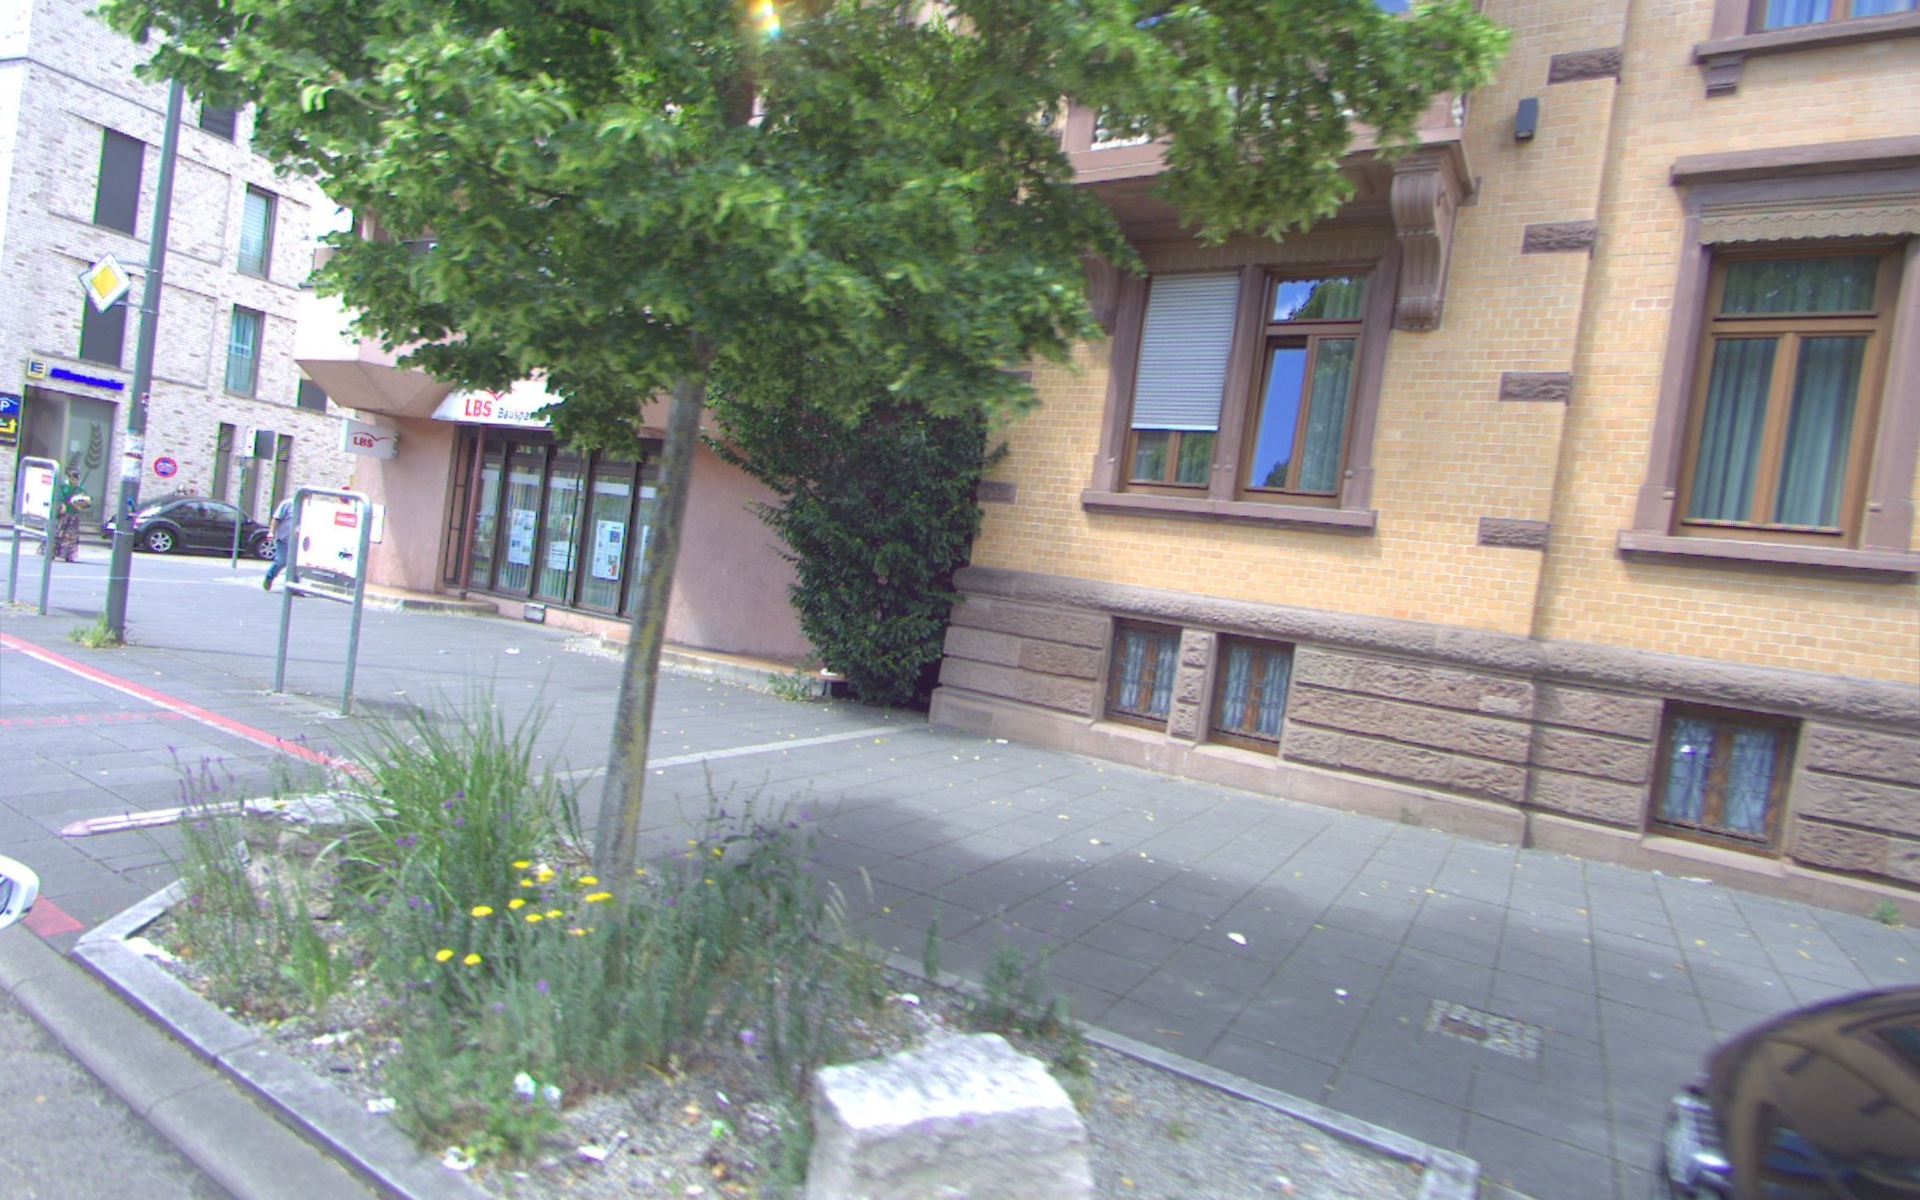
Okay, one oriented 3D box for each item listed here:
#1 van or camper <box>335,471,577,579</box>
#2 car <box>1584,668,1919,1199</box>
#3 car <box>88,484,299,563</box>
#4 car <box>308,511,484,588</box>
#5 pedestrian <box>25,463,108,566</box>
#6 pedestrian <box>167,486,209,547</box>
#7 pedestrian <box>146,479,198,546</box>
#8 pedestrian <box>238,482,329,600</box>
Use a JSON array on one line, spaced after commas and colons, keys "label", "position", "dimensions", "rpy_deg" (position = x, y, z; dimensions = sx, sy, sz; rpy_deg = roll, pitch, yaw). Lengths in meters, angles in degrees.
[{"label": "van or camper", "position": [-16.134, -2.303, 32.784], "dimensions": [2.238, 2.772, 6.861], "rpy_deg": [6, 2, 29]}, {"label": "car", "position": [3.253, 1.086, 0.695], "dimensions": [4.658, 1.432, 1.995], "rpy_deg": [7, 1, 32]}, {"label": "car", "position": [-19.652, -1.921, 25.973], "dimensions": [1.751, 1.496, 3.901], "rpy_deg": [8, 2, 25]}, {"label": "car", "position": [-14.096, -1.240, 25.308], "dimensions": [1.689, 1.496, 3.384], "rpy_deg": [8, 2, 30]}, {"label": "pedestrian", "position": [-15.534, -1.484, 17.518], "dimensions": [0.736, 1.661, 0.921], "rpy_deg": [5, 3, -23]}, {"label": "pedestrian", "position": [-21.663, -2.346, 28.238], "dimensions": [0.592, 1.592, 0.522], "rpy_deg": [7, 0, -2]}, {"label": "pedestrian", "position": [-21.626, -2.382, 27.601], "dimensions": [0.801, 1.691, 0.555], "rpy_deg": [7, 0, -2]}, {"label": "pedestrian", "position": [-10.460, -0.904, 15.563], "dimensions": [0.928, 1.707, 0.717], "rpy_deg": [6, 2, 28]}]
